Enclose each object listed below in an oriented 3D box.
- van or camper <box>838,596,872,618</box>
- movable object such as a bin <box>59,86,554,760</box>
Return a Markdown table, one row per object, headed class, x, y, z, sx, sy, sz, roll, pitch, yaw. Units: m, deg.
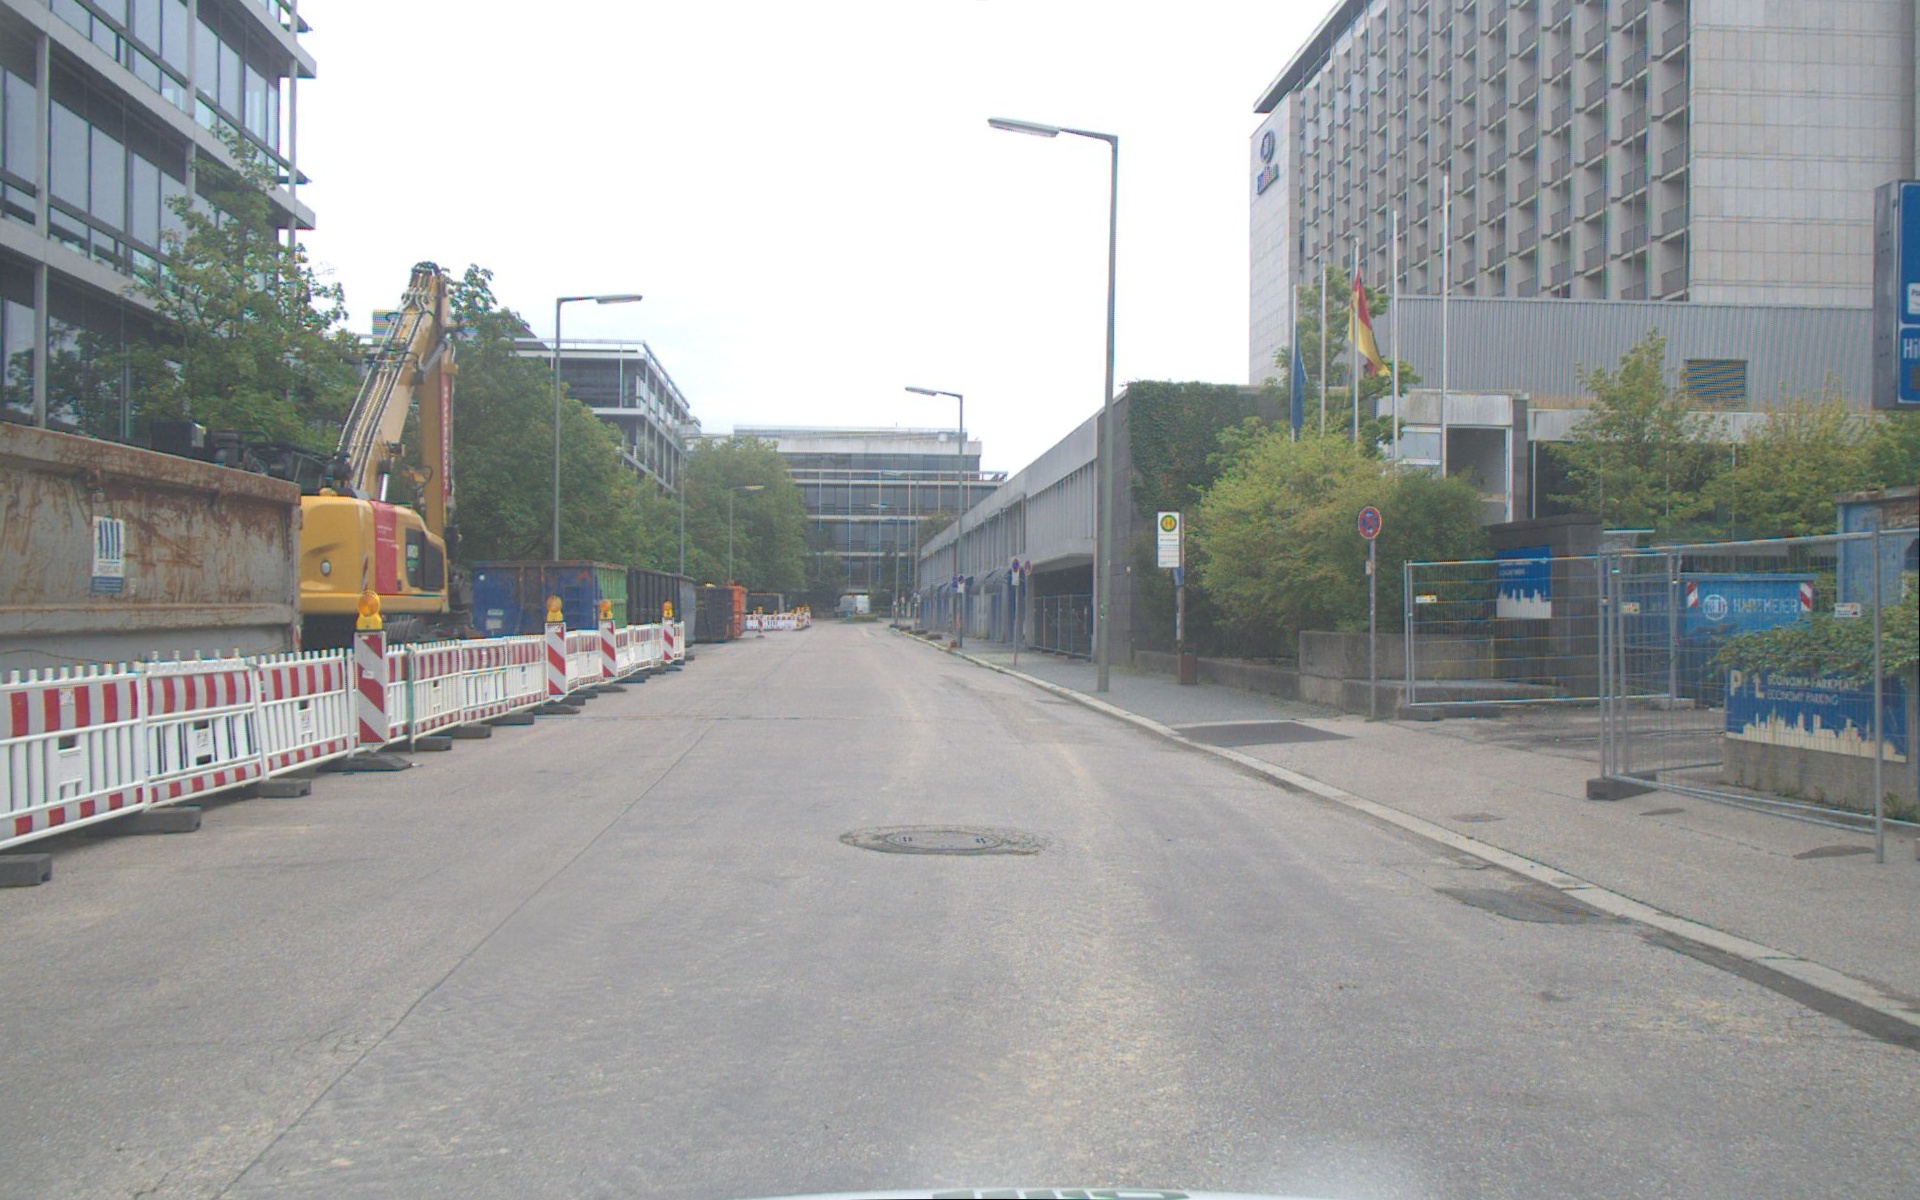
| class | x | y | z | sx | sy | sz | roll | pitch | yaw |
| --- | --- | --- | --- | --- | --- | --- | --- | --- | --- |
| van or camper | -12.460 | 0.844 | 195.619 | 2.063 | 2.536 | 5.017 | 1 | 0 | -29 |
| movable object such as a bin | -7.932 | -1.684 | 22.367 | 2.847 | 6.680 | 11.771 | 0 | -1 | -5 |
